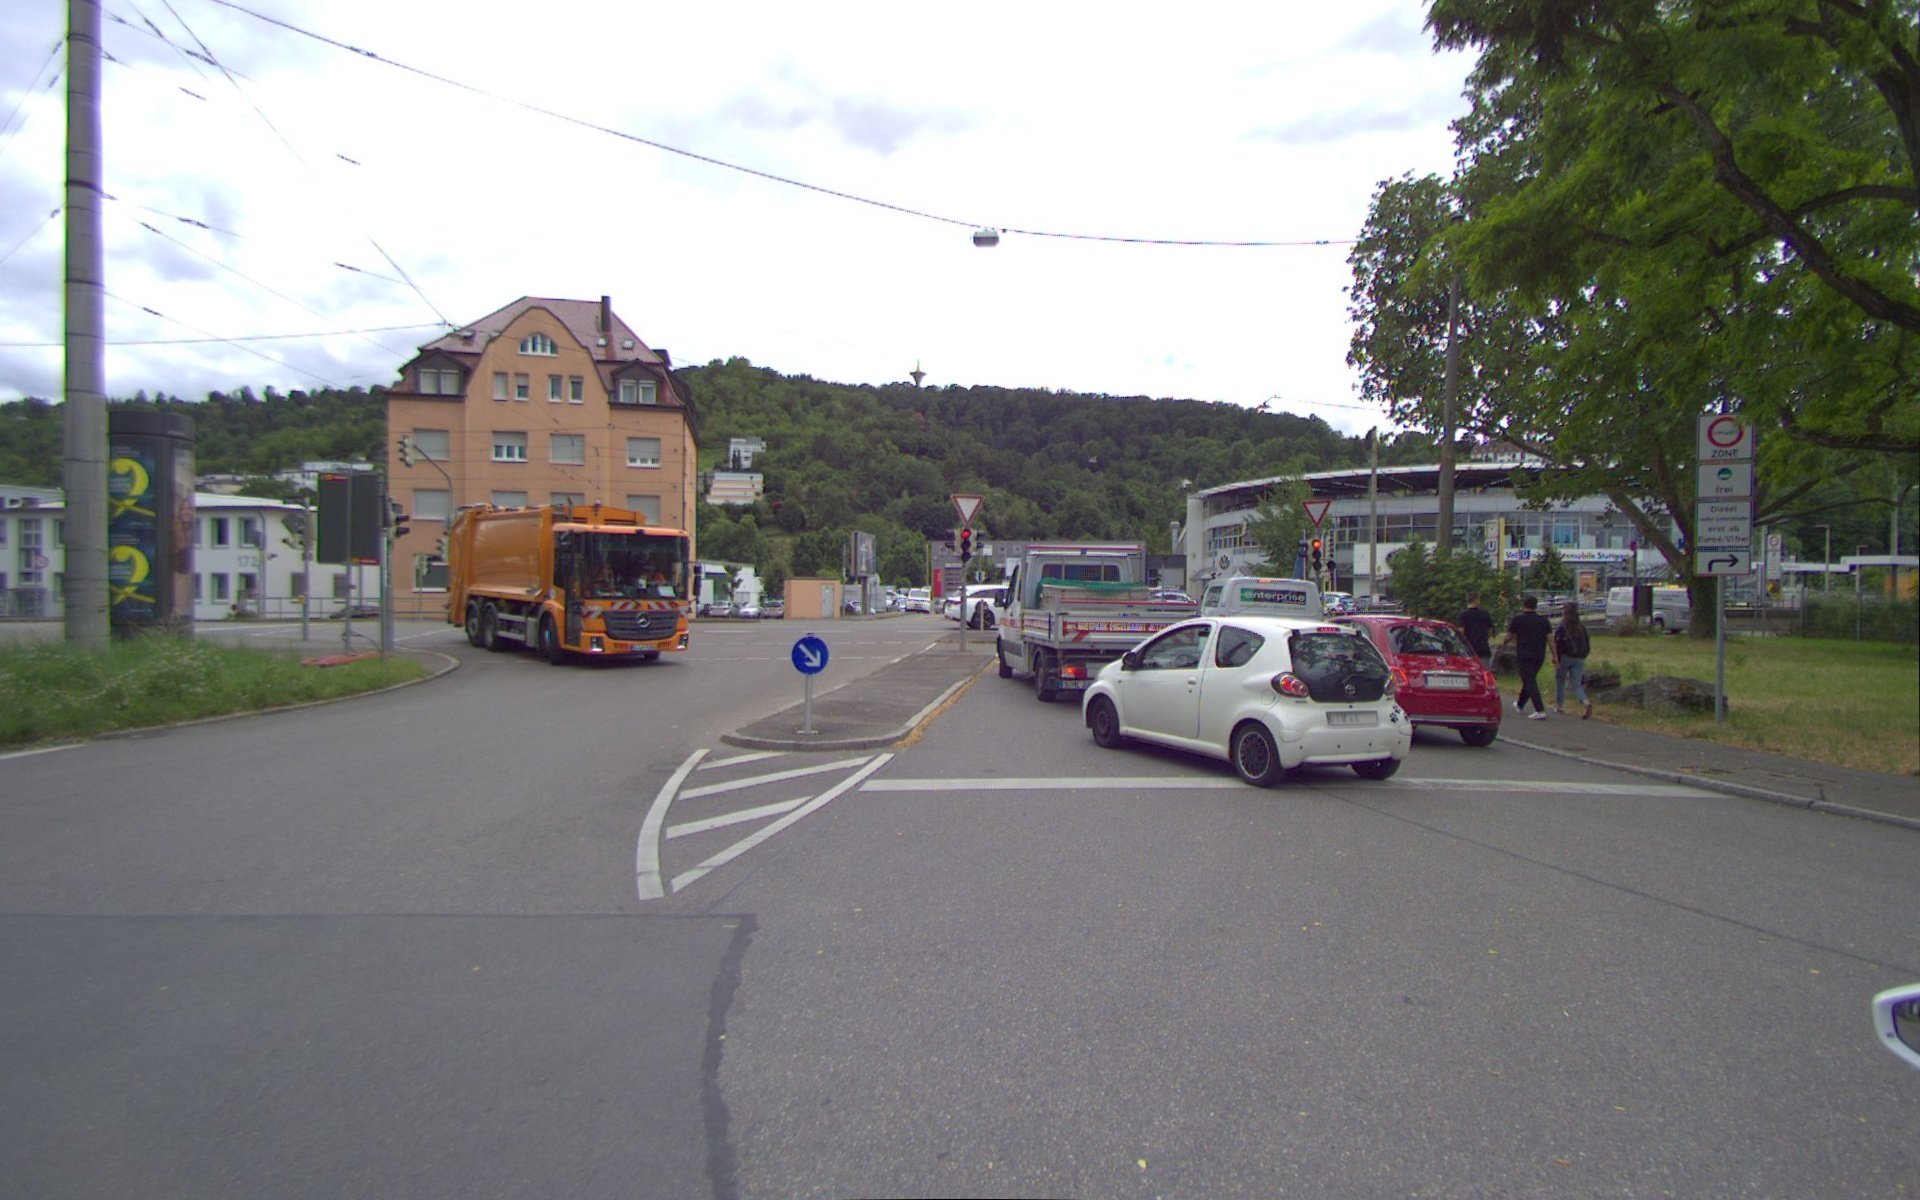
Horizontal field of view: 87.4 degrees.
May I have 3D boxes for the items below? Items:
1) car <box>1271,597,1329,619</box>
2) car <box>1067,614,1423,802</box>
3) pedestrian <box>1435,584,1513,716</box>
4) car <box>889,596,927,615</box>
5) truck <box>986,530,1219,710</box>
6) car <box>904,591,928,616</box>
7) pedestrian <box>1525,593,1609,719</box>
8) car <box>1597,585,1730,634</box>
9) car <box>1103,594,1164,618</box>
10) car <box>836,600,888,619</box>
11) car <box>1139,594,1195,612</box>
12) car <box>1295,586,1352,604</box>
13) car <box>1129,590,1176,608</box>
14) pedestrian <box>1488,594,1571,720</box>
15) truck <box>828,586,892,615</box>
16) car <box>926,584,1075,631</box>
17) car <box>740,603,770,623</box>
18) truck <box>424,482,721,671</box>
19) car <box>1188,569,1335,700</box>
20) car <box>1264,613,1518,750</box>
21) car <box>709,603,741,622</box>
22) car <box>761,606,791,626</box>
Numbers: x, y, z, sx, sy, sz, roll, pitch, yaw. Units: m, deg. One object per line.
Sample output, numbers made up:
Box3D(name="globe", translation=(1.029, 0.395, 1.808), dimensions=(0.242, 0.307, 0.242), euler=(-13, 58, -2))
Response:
Box3D(name="car", translation=(24.601, 0.576, 72.750), dimensions=(1.751, 1.521, 3.998), euler=(0, 1, -24))
Box3D(name="car", translation=(2.641, 0.904, 10.061), dimensions=(1.622, 1.452, 3.409), euler=(0, 0, -25))
Box3D(name="pedestrian", translation=(7.578, 0.713, 14.831), dimensions=(0.683, 1.882, 0.786), euler=(0, 1, -12))
Box3D(name="car", translation=(-4.364, 0.423, 83.869), dimensions=(1.752, 1.554, 4.063), euler=(0, 1, -26))
Box3D(name="truck", translation=(2.030, 0.253, 16.678), dimensions=(2.384, 2.430, 6.022), euler=(0, 0, -7))
Box3D(name="car", translation=(-3.395, 0.224, 77.454), dimensions=(1.829, 1.842, 4.400), euler=(0, 1, -2))
Box3D(name="pedestrian", translation=(8.750, 0.778, 14.499), dimensions=(0.683, 1.763, 0.786), euler=(0, 1, -12))
Box3D(name="car", translation=(30.801, 0.392, 43.990), dimensions=(5.214, 2.041, 1.965), euler=(0, 1, -17))
Box3D(name="car", translation=(11.881, 0.396, 68.671), dimensions=(3.807, 1.521, 1.774), euler=(1, 1, 23))
Box3D(name="car", translation=(-8.058, 0.785, 82.580), dimensions=(4.140, 1.554, 1.773), euler=(0, 1, -9))
Box3D(name="car", translation=(18.084, 0.252, 87.822), dimensions=(4.714, 1.554, 1.776), euler=(0, 1, 9))
Box3D(name="car", translation=(30.623, -0.458, 84.709), dimensions=(1.780, 1.512, 4.168), euler=(0, 1, -38))
Box3D(name="car", translation=(19.702, -0.140, 102.883), dimensions=(4.714, 1.827, 1.776), euler=(0, 1, 9))
Box3D(name="pedestrian", translation=(8.083, 0.782, 14.281), dimensions=(0.683, 1.737, 0.786), euler=(0, 1, -12))
Box3D(name="truck", translation=(-8.541, 0.034, 85.568), dimensions=(5.124, 2.425, 1.990), euler=(0, 1, -22))
Box3D(name="car", translation=(1.342, 0.238, 34.116), dimensions=(4.807, 1.528, 1.802), euler=(0, 2, -8))
Box3D(name="car", translation=(-17.776, 1.111, 87.099), dimensions=(1.748, 1.539, 3.630), euler=(1, 1, 2))
Box3D(name="truck", translation=(-9.560, -0.583, 23.721), dimensions=(2.779, 3.574, 10.285), euler=(1, 1, -44))
Box3D(name="car", translation=(5.497, 0.549, 18.940), dimensions=(1.955, 2.135, 4.764), euler=(0, 0, 8))
Box3D(name="car", translation=(5.420, 0.956, 13.122), dimensions=(1.613, 1.476, 3.428), euler=(1, 0, -5))
Box3D(name="car", translation=(-20.404, 1.080, 87.285), dimensions=(1.748, 1.539, 3.630), euler=(1, 1, 2))
Box3D(name="car", translation=(-15.888, 1.370, 86.946), dimensions=(1.748, 1.539, 3.630), euler=(1, 1, 2))
